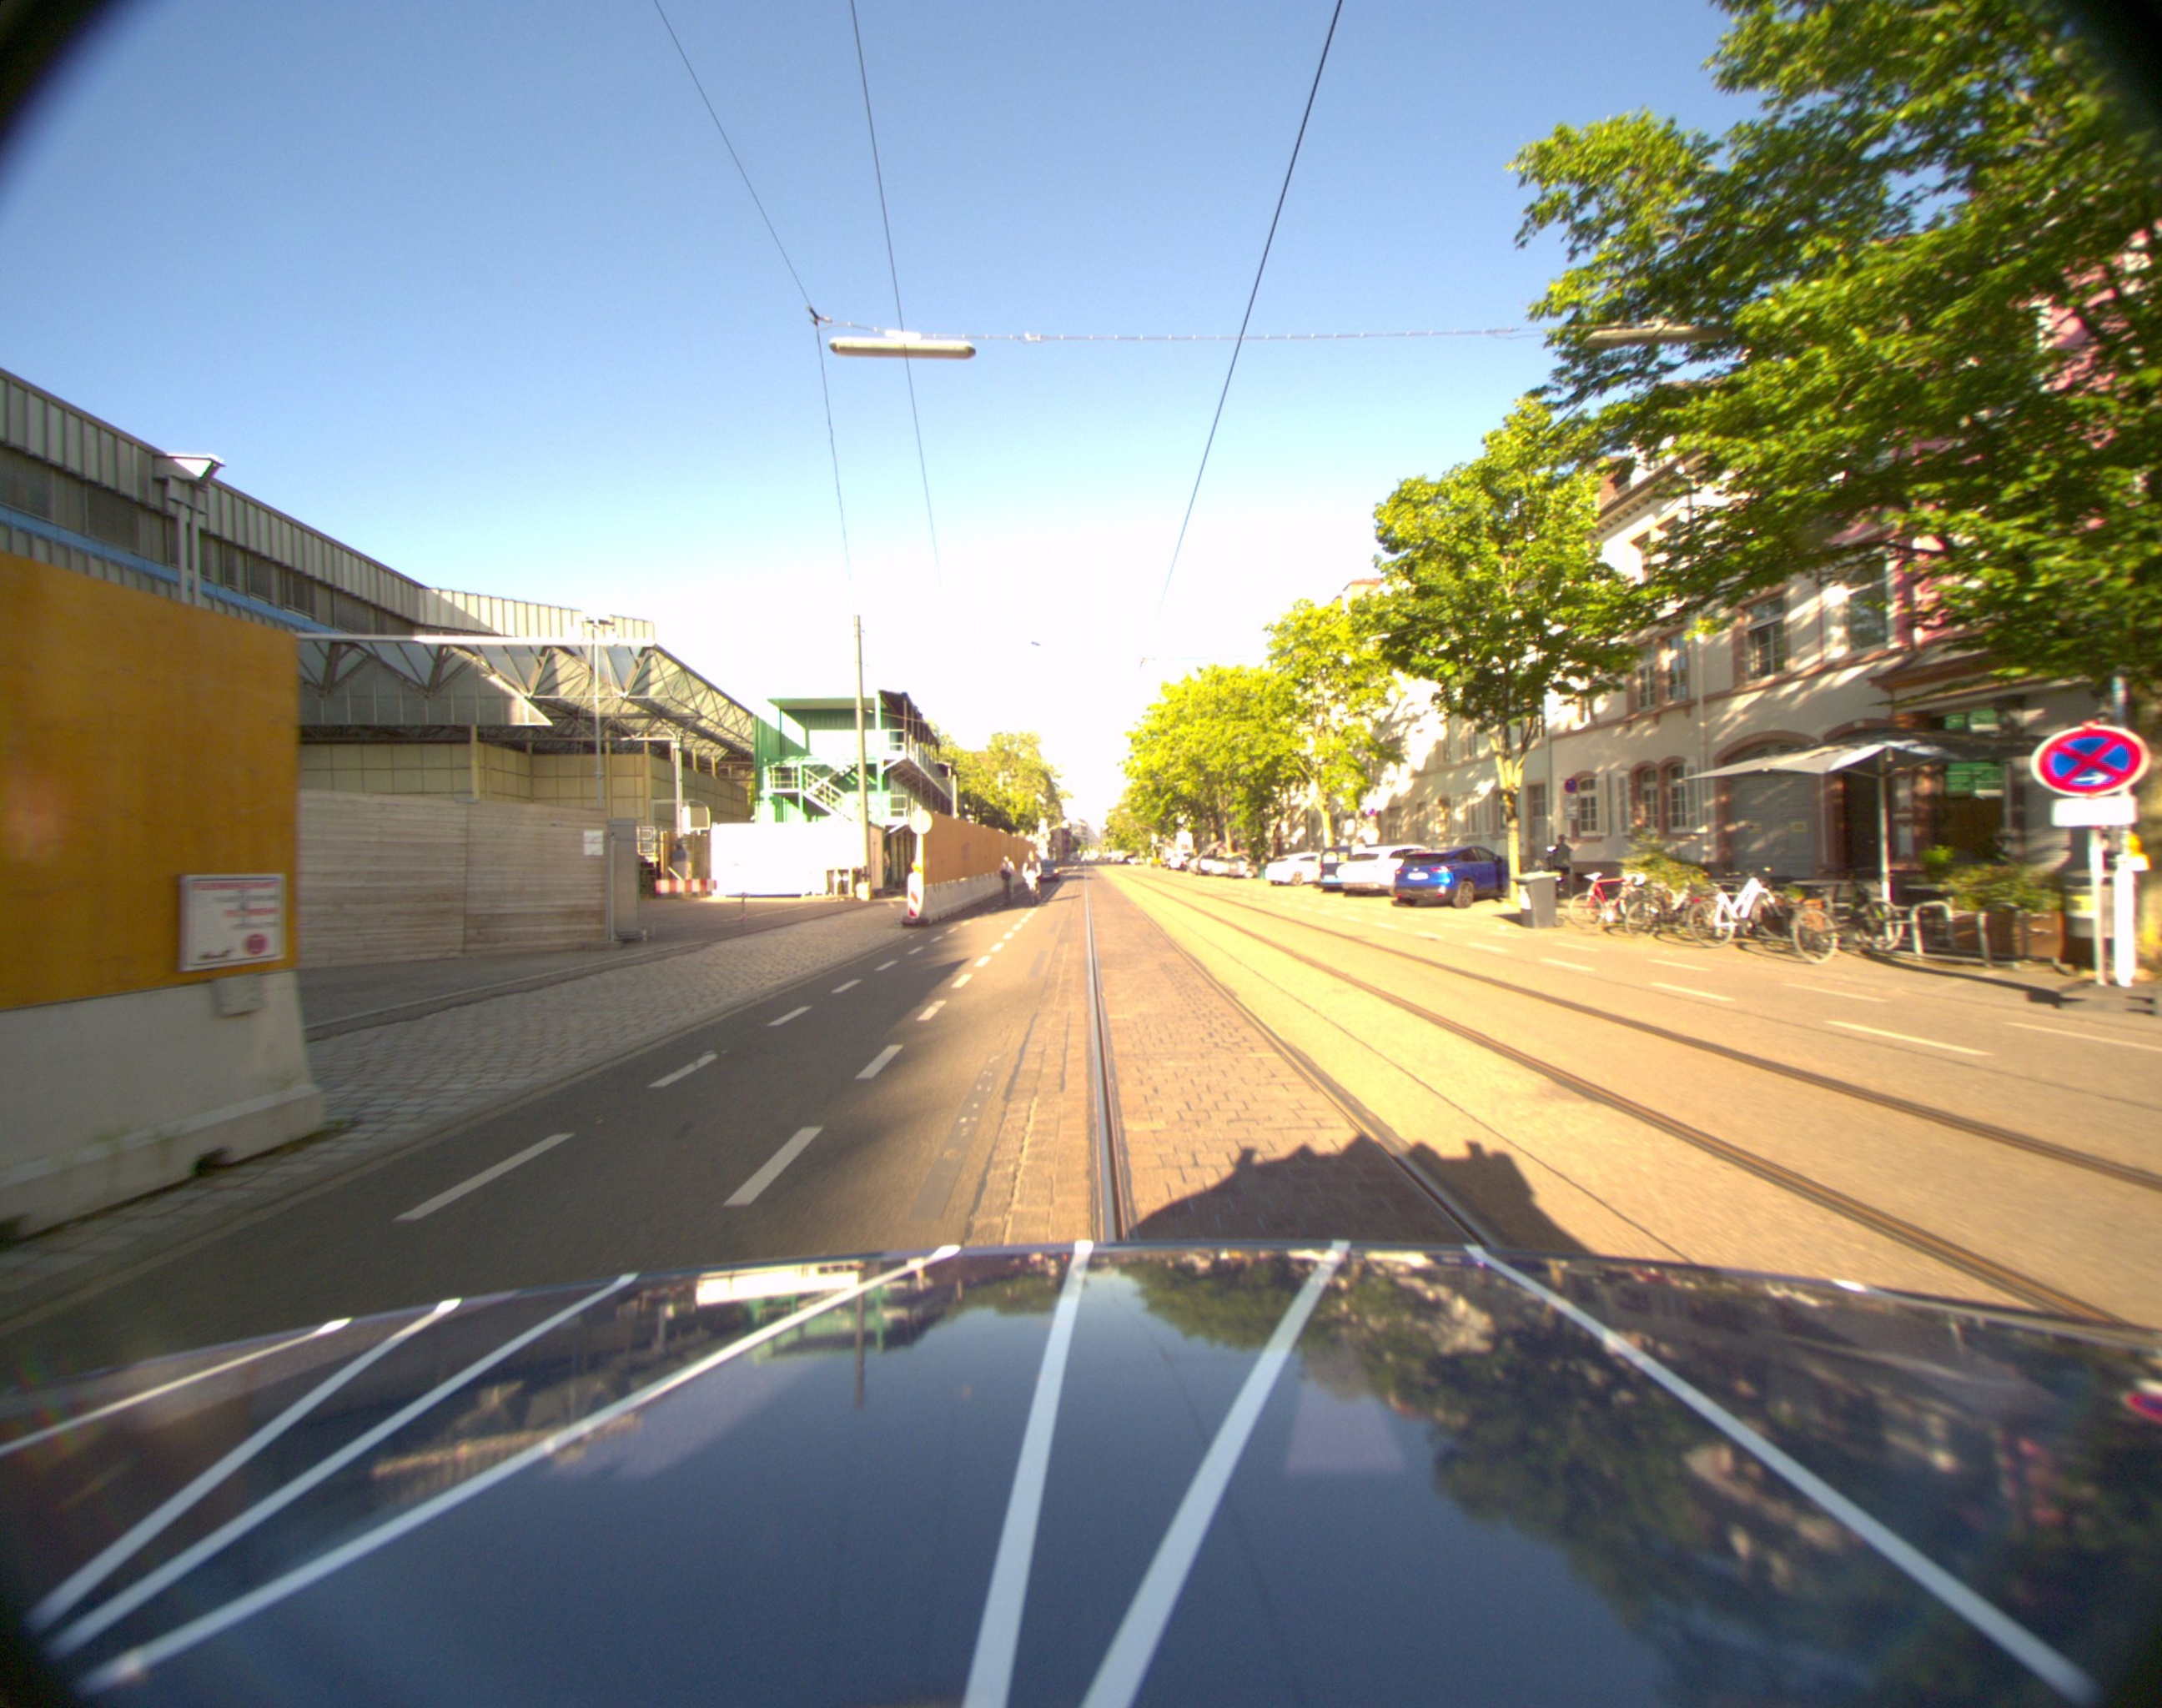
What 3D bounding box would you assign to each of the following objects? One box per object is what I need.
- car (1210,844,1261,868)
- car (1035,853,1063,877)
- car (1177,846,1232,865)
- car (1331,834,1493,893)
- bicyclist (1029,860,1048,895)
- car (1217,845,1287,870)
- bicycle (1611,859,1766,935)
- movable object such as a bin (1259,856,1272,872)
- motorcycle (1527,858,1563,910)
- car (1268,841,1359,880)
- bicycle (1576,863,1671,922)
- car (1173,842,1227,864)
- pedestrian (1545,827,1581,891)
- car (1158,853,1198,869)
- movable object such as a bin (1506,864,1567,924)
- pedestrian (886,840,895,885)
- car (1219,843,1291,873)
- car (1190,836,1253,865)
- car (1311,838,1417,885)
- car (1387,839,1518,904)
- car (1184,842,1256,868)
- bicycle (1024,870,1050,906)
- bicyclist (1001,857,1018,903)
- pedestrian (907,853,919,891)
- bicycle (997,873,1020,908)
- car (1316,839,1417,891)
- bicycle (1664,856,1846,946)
[{"bbox_3d":[10.865,0.143,53.319,3.380,1.544,1.381,-2,1,-30],"label":"car"},{"bbox_3d":[-2.246,0.792,54.827,1.749,1.612,4.171,-1,-1,1],"label":"car"},{"bbox_3d":[11.575,0.134,71.302,4.708,1.567,1.953,-2,0,-4],"label":"car"},{"bbox_3d":[11.221,0.282,25.786,4.945,1.784,2.205,-2,1,-22],"label":"car"},{"bbox_3d":[-1.532,0.838,27.249,0.653,1.230,0.353,-1,1,-2],"label":"bicyclist"},{"bbox_3d":[11.261,0.215,50.086,4.174,1.543,1.700,-2,0,-15],"label":"car"},{"bbox_3d":[9.877,0.684,12.396,1.972,1.073,0.568,-4,1,3],"label":"bicycle"},{"bbox_3d":[10.695,0.589,44.065,0.623,0.939,0.670,1,1,-1],"label":"movable object such as a bin"},{"bbox_3d":[11.985,0.733,19.593,0.724,1.246,2.605,0,0,33],"label":"motorcycle"},{"bbox_3d":[10.953,0.300,35.853,3.650,1.521,1.883,-4,2,-19],"label":"car"},{"bbox_3d":[10.077,0.696,14.125,1.605,0.982,0.388,-3,1,-10],"label":"bicycle"},{"bbox_3d":[11.845,-0.089,75.456,4.946,2.002,2.071,-1,0,-23],"label":"car"},{"bbox_3d":[13.956,0.144,22.025,0.645,1.827,0.624,-1,1,2],"label":"pedestrian"},{"bbox_3d":[10.711,0.779,83.711,4.005,1.549,1.777,-3,1,-29],"label":"car"},{"bbox_3d":[8.774,0.763,14.665,0.685,1.071,0.710,-5,0,2],"label":"movable object such as a bin"},{"bbox_3d":[-8.731,0.392,34.827,0.307,2.033,0.352,-2,1,-5],"label":"pedestrian"},{"bbox_3d":[10.827,0.222,47.327,4.003,1.667,1.700,-2,0,-20],"label":"car"},{"bbox_3d":[10.953,-0.290,59.492,4.448,2.105,2.163,-2,0,-2],"label":"car"},{"bbox_3d":[11.722,0.304,31.425,4.005,1.647,1.807,-4,0,-27],"label":"car"},{"bbox_3d":[10.265,0.430,20.893,3.909,1.599,1.569,-2,1,-36],"label":"car"},{"bbox_3d":[10.300,0.057,56.534,4.841,1.714,2.163,-2,0,-2],"label":"car"},{"bbox_3d":[-1.537,1.177,26.957,0.669,1.148,2.276,-3,0,2],"label":"bicycle"},{"bbox_3d":[-2.572,0.926,27.233,0.557,1.603,0.576,-1,1,-2],"label":"bicyclist"},{"bbox_3d":[-7.793,0.832,35.178,0.449,1.748,0.377,-2,1,-19],"label":"pedestrian"},{"bbox_3d":[-2.583,1.297,27.224,0.558,1.120,2.276,-2,0,0],"label":"bicycle"},{"bbox_3d":[10.832,0.383,28.803,3.451,1.832,1.729,-1,0,-28],"label":"car"},{"bbox_3d":[9.775,0.672,11.070,2.007,1.081,0.567,-6,0,3],"label":"bicycle"}]
